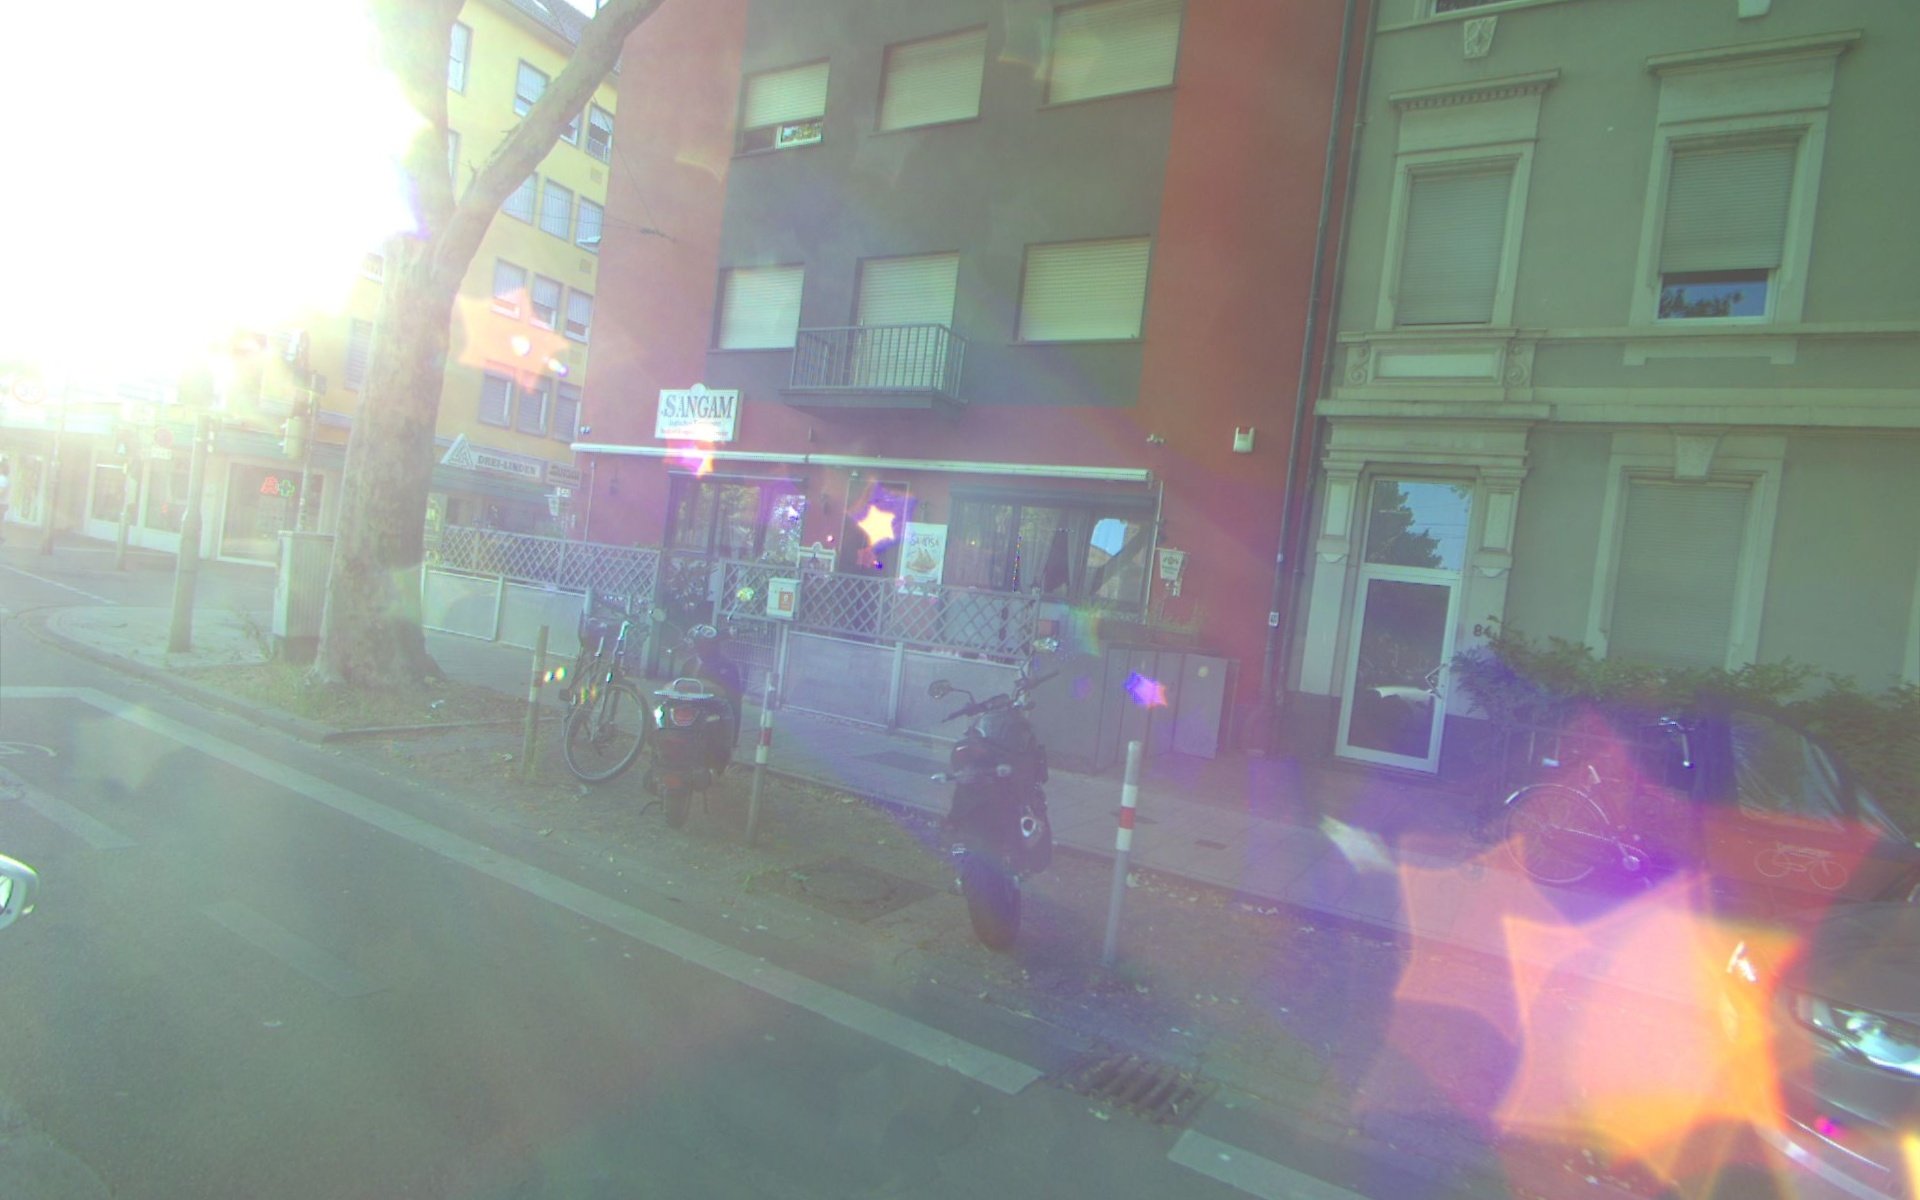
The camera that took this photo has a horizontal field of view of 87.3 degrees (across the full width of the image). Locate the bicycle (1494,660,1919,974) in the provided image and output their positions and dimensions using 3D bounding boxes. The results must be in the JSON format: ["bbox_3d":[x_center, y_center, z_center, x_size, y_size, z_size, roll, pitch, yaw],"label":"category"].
[{"bbox_3d":[4.725,1.260,6.201,2.356,1.443,0.608,7,-1,32],"label":"bicycle"}]

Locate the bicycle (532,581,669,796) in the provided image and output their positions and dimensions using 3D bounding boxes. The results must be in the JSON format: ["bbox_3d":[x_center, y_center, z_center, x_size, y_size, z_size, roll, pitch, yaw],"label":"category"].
[{"bbox_3d":[-2.625,0.573,7.389,0.686,1.219,1.837,8,2,-20],"label":"bicycle"}]

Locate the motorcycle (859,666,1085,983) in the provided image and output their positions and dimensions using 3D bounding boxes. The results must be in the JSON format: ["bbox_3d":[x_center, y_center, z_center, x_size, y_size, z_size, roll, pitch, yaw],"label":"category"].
[{"bbox_3d":[0.177,1.009,5.323,0.752,1.077,2.212,7,2,9],"label":"motorcycle"}]

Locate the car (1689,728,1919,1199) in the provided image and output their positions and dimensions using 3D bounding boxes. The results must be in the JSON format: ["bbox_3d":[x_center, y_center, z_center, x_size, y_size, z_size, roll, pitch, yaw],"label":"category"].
[{"bbox_3d":[4.594,1.424,2.496,4.250,1.414,1.712,7,0,32],"label":"car"}]

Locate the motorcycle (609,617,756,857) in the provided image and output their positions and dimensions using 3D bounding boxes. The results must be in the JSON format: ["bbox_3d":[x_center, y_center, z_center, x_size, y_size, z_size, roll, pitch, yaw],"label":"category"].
[{"bbox_3d":[-1.679,0.757,6.361,0.591,1.166,1.994,7,0,-10],"label":"motorcycle"}]

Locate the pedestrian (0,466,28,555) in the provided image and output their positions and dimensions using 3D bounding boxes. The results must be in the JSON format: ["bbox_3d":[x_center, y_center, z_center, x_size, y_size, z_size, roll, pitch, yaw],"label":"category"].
[{"bbox_3d":[-20.212,-1.906,21.103,0.676,1.792,0.680,7,1,32],"label":"pedestrian"}]
